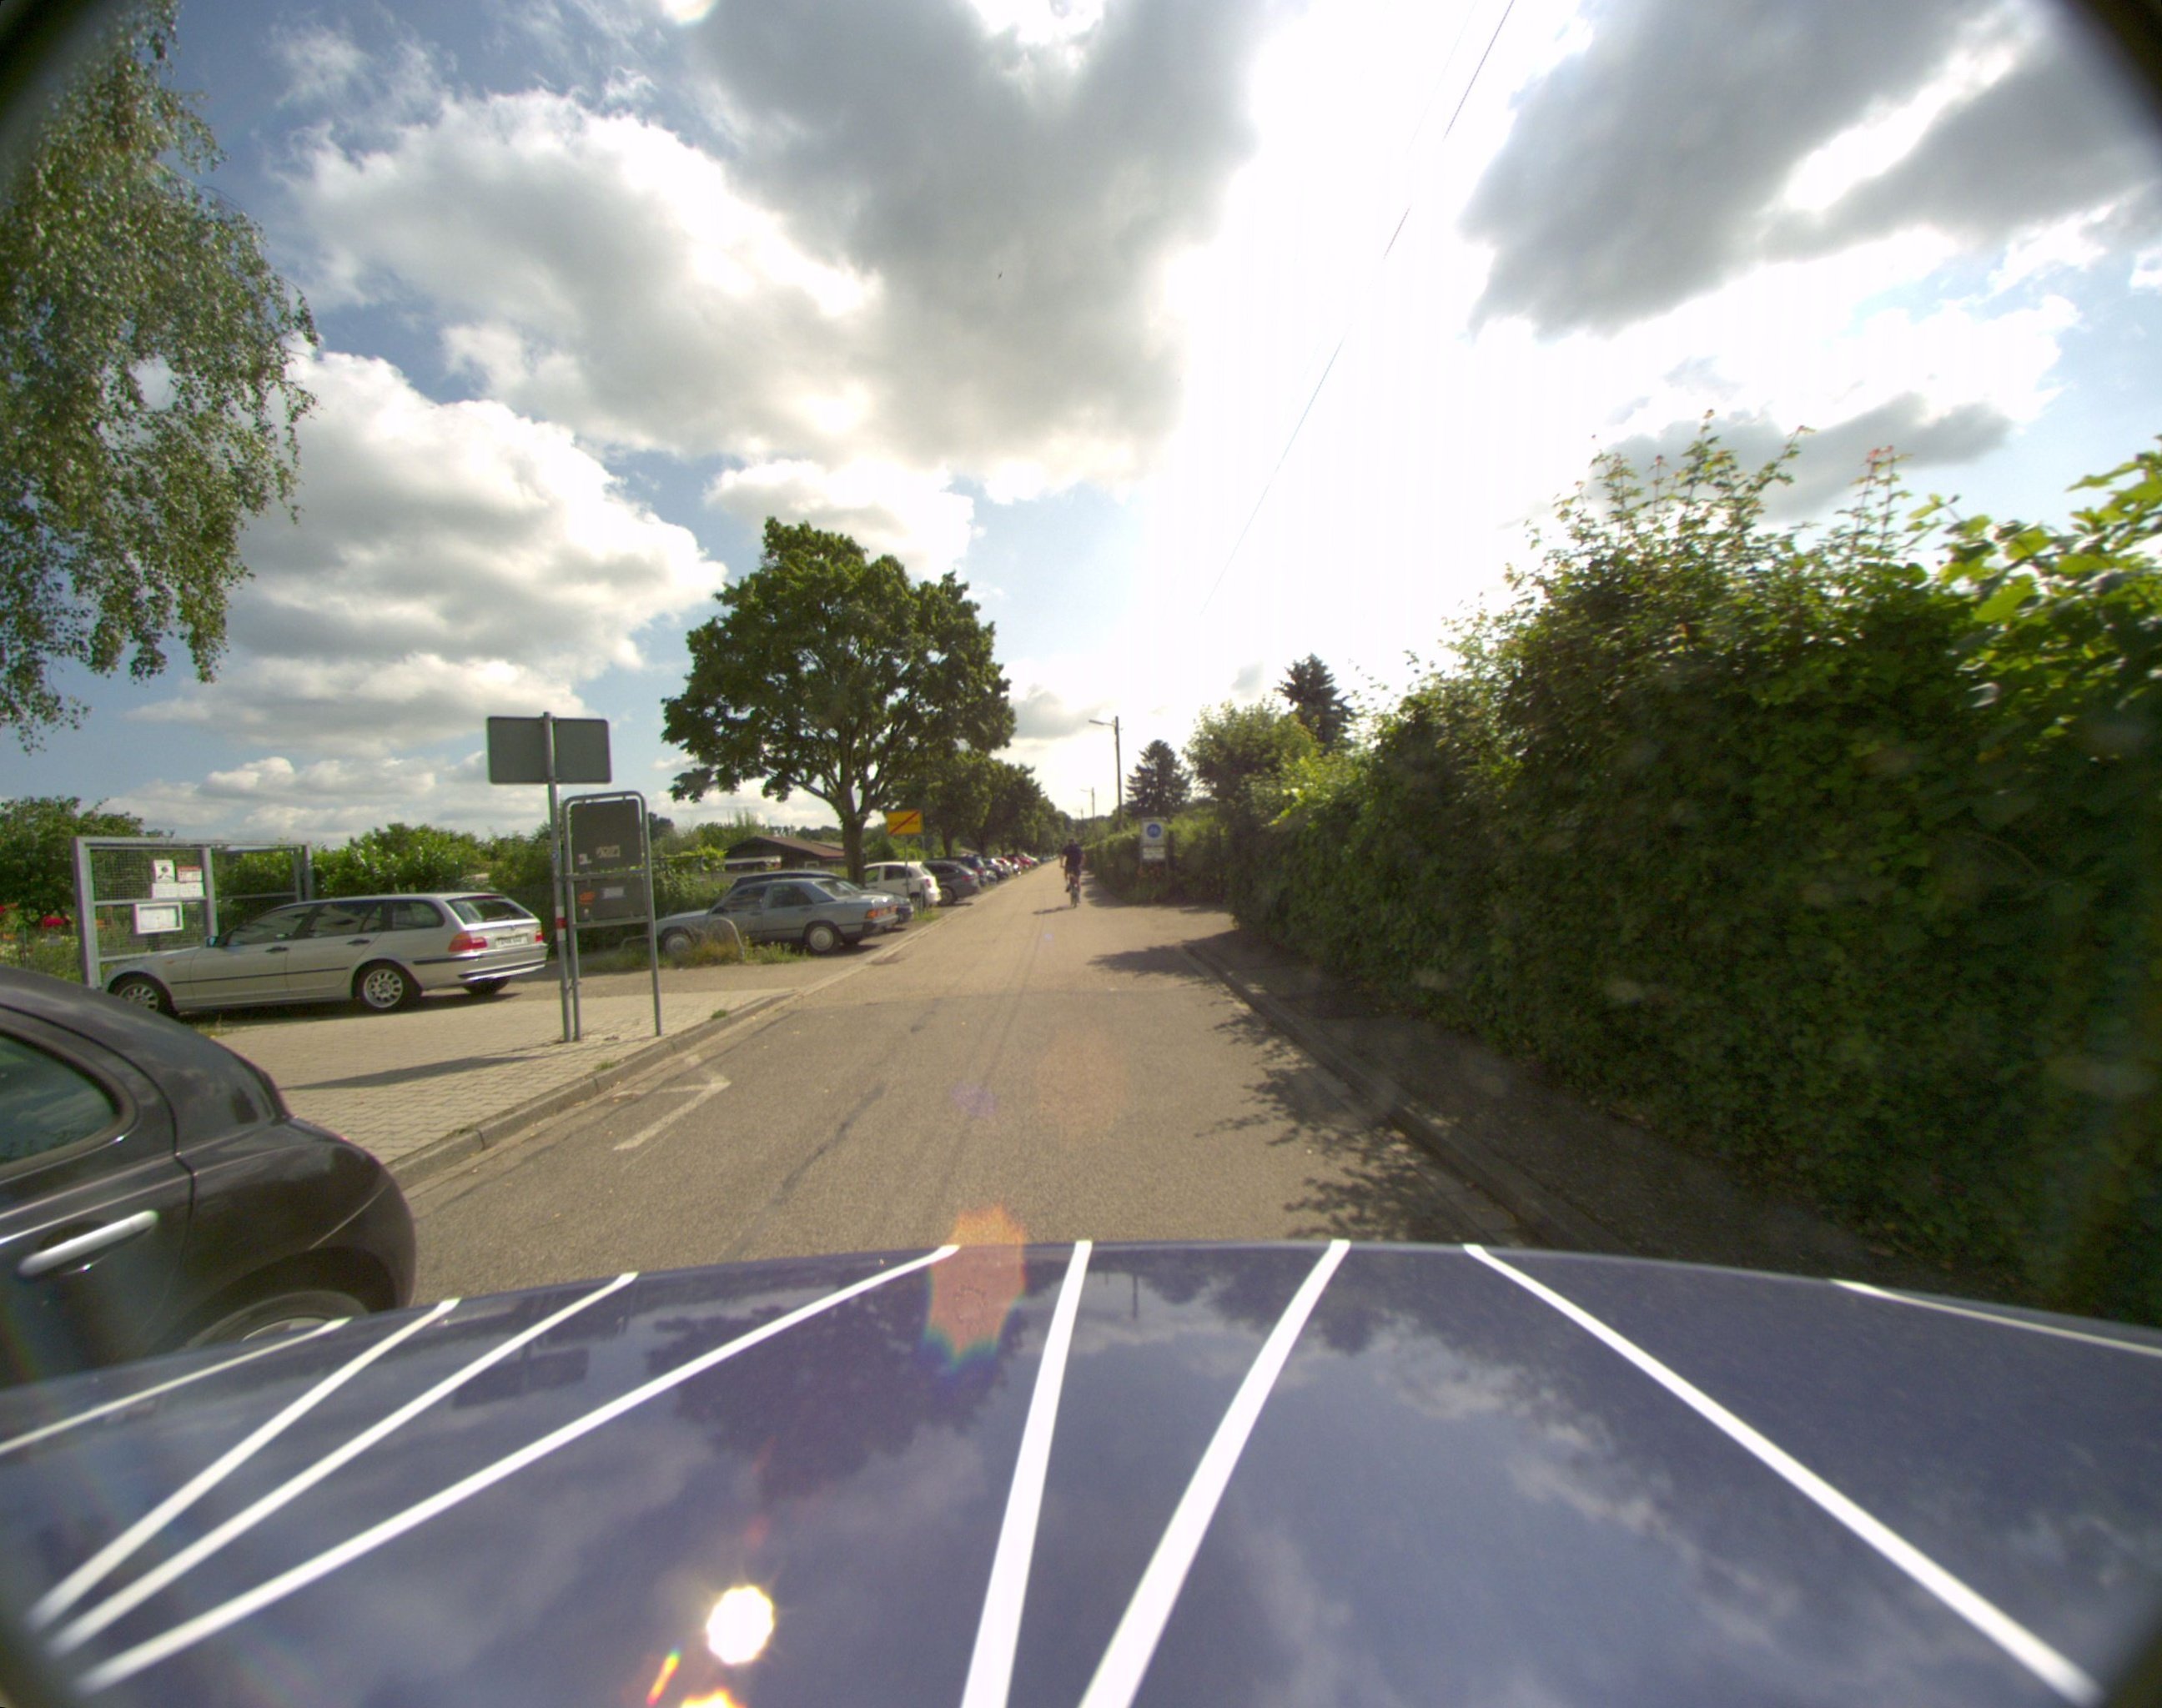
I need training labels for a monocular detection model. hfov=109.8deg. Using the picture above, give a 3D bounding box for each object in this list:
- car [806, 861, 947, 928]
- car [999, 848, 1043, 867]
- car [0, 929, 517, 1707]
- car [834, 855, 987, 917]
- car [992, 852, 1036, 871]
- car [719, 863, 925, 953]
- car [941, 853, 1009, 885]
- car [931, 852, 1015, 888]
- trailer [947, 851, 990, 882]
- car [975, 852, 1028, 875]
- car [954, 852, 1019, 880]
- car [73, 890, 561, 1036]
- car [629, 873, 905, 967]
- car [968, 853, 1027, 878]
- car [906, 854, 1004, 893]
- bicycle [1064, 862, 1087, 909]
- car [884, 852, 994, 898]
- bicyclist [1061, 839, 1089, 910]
[{"bbox_3d":[-5.890,1.152,22.192,3.584,1.540,1.666,-5,1,-4],"label":"car"},{"bbox_3d":[-6.664,0.352,84.830,4.647,1.875,2.111,-3,1,-3],"label":"car"},{"bbox_3d":[-2.744,1.080,0.349,1.667,1.497,4.000,-5,1,4],"label":"car"},{"bbox_3d":[-5.515,1.005,25.047,4.562,1.569,1.808,-5,1,-4],"label":"car"},{"bbox_3d":[-6.744,0.723,77.185,4.194,1.496,1.878,-5,1,0],"label":"car"},{"bbox_3d":[-5.749,1.169,17.302,3.944,1.550,1.867,-5,1,-2],"label":"car"},{"bbox_3d":[-6.253,0.874,45.043,3.734,1.531,1.849,-5,1,-4],"label":"car"},{"bbox_3d":[-5.954,0.868,42.403,4.313,1.585,1.999,-5,1,-1],"label":"car"},{"bbox_3d":[-7.057,0.792,47.911,2.457,1.710,1.518,-5,0,-5],"label":"trailer"},{"bbox_3d":[-6.514,0.794,62.318,3.996,1.511,1.854,-5,1,3],"label":"car"},{"bbox_3d":[-6.445,0.813,52.151,4.074,1.503,1.957,-5,1,2],"label":"car"},{"bbox_3d":[-9.353,1.291,9.611,4.252,1.422,1.758,-2,1,-2],"label":"car"},{"bbox_3d":[-5.726,1.182,14.198,4.368,1.384,1.718,-3,1,3],"label":"car"},{"bbox_3d":[-6.075,0.800,55.625,4.077,1.447,1.869,-5,1,-3],"label":"car"},{"bbox_3d":[-6.032,0.922,36.898,4.347,1.483,1.975,-5,1,-1],"label":"car"},{"bbox_3d":[-0.131,0.812,20.137,0.519,1.143,1.827,-2,1,2],"label":"bicycle"},{"bbox_3d":[-5.877,0.834,31.812,4.165,1.628,1.878,-3,1,0],"label":"car"},{"bbox_3d":[-0.148,0.530,20.393,0.660,1.841,1.043,-2,1,1],"label":"bicyclist"}]
